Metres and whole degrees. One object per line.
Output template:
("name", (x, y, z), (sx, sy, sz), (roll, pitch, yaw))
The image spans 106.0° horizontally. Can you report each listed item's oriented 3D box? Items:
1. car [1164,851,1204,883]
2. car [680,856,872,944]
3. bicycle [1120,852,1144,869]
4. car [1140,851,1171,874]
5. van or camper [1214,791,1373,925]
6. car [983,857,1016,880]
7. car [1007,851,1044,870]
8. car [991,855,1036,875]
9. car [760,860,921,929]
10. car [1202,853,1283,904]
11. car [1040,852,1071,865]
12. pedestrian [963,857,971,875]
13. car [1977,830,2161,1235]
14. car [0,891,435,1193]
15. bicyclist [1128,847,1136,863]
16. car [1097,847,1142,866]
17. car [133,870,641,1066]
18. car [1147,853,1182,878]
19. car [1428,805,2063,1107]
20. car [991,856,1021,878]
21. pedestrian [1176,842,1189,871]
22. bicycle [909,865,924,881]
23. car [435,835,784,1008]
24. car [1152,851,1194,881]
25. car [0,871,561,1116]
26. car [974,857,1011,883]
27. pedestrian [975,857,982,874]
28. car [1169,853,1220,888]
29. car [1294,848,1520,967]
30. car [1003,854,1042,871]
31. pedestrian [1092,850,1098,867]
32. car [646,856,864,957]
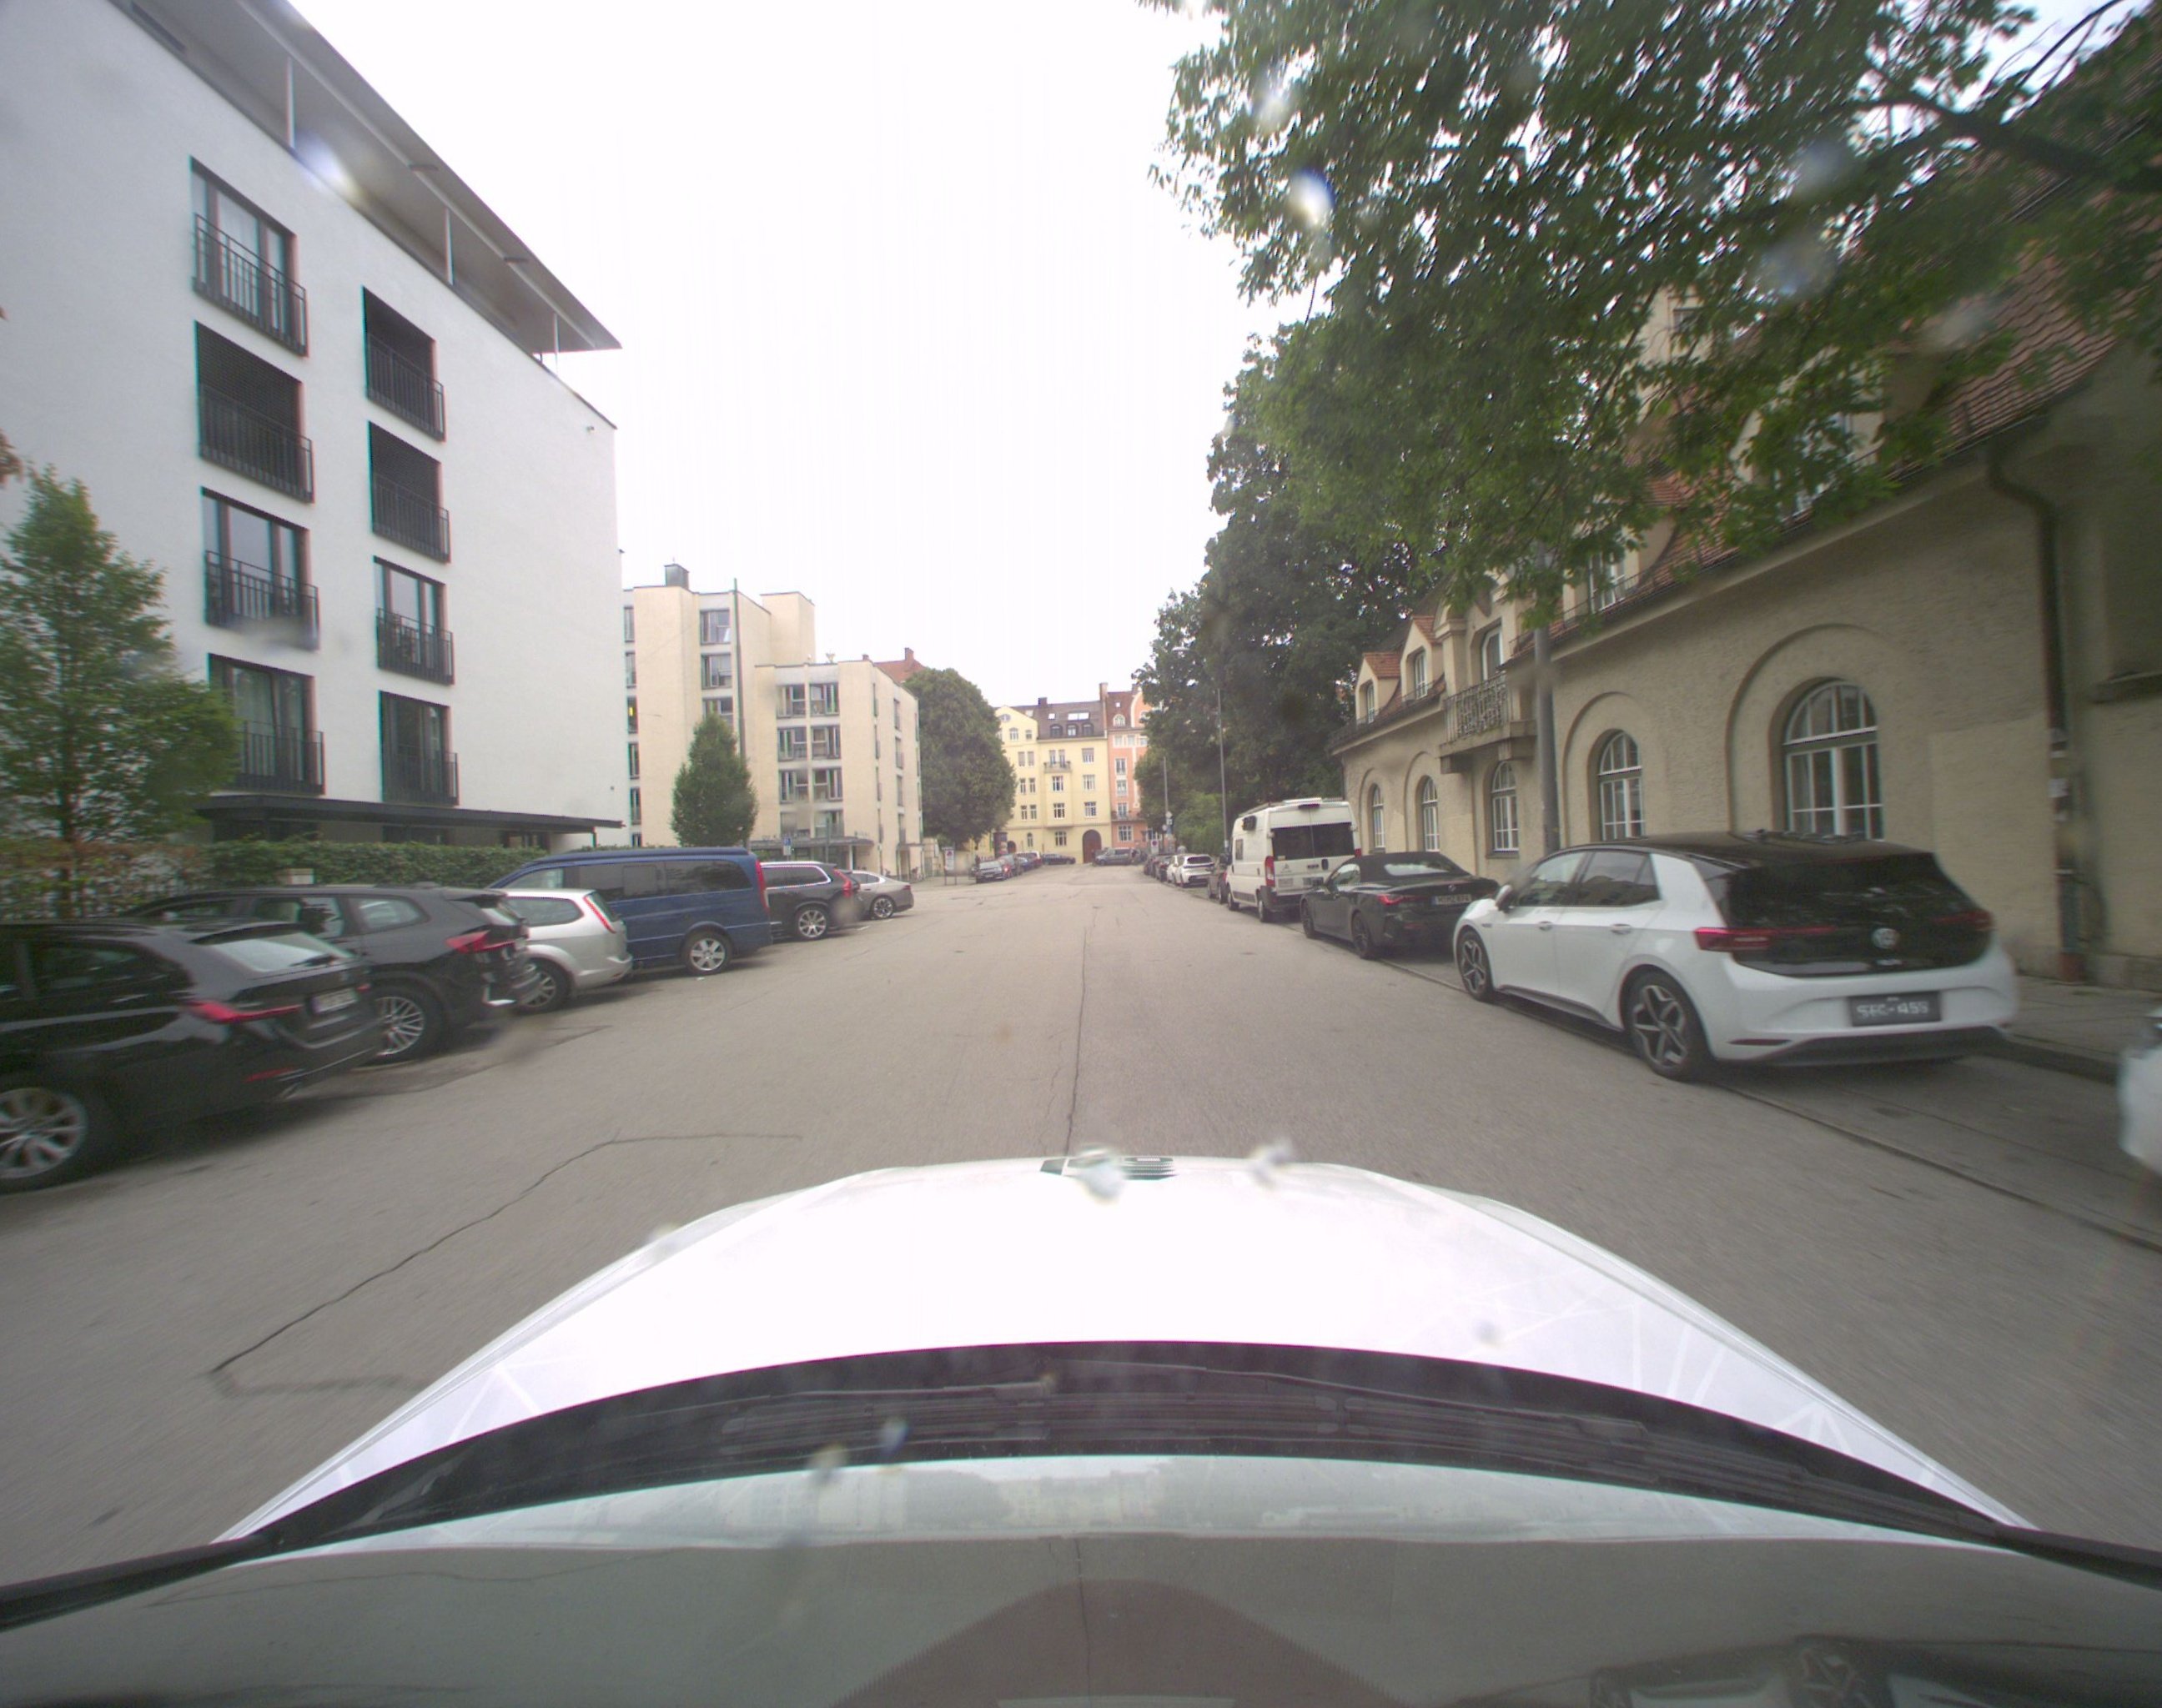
("car", (5.339, 0.660, 42.576), (1.700, 1.466, 3.839), (-4, 0, 2))
("car", (-7.460, 1.062, 20.006), (4.132, 1.708, 1.721), (-4, 0, -29))
("bicycle", (4.895, 0.613, 77.656), (2.209, 1.510, 0.655), (-2, 0, 1))
("car", (5.189, 0.579, 57.237), (1.665, 1.344, 3.836), (-4, 2, -1))
("van or camper", (4.755, 0.081, 19.276), (2.185, 2.550, 5.728), (-4, 0, 1))
("car", (-6.113, 1.042, 61.362), (1.827, 1.508, 4.002), (-6, 0, 2))
("car", (-6.435, 0.711, 94.321), (3.974, 1.799, 1.840), (-6, 0, 0))
("car", (-6.386, 1.004, 77.563), (3.974, 1.508, 1.840), (-6, 0, 0))
("car", (-7.004, 1.128, 23.838), (4.133, 1.609, 1.720), (-4, 0, -31))
("car", (4.990, 0.705, 25.679), (1.701, 1.369, 4.130), (-4, 0, 0))
("car", (-3.442, 0.586, 110.056), (3.971, 1.586, 1.704), (-3, 0, 2))
("pedestrian", (-10.921, 1.120, 78.061), (0.569, 1.657, 0.465), (-2, 0, 1))
("car", (4.655, 0.598, 1.471), (1.679, 1.441, 4.002), (-4, -1, 2))
("car", (-6.821, 1.140, 4.859), (4.219, 1.461, 1.725), (-4, 0, -20))
("bicyclist", (4.852, 0.097, 77.652), (0.763, 1.510, 0.655), (-2, 0, 1))
("car", (4.127, 0.252, 87.445), (4.689, 1.880, 1.840), (-2, 0, -1))
("car", (-7.708, 1.152, 9.688), (4.229, 1.609, 1.721), (-4, 0, -28))
("car", (5.321, 0.685, 52.313), (1.665, 1.344, 3.836), (-4, 2, -1))
("car", (4.564, 0.559, 6.614), (1.701, 1.537, 4.242), (-5, 0, 2))
("car", (-6.050, 1.019, 66.261), (1.827, 1.508, 4.002), (-6, 0, 2))
("pedestrian", (7.081, 0.188, 56.920), (0.770, 2.013, 0.563), (-2, 0, 1))
("bicycle", (-12.106, 1.390, 60.029), (0.636, 1.149, 2.424), (-2, 0, -1))
("car", (-6.961, 0.886, 12.470), (4.229, 2.066, 1.721), (-4, 0, -28))
("car", (5.252, 0.648, 46.871), (1.799, 1.465, 3.834), (-4, 2, -2))
("car", (-7.447, 1.116, 7.446), (4.224, 1.609, 1.723), (-4, 0, -24))
("car", (-5.983, 1.063, 55.405), (1.827, 1.508, 4.002), (-6, 0, 2))
("pedestrian", (-9.814, 1.081, 77.881), (0.569, 1.657, 0.465), (-2, 0, 1))
("car", (5.181, 0.714, 37.634), (1.701, 1.408, 4.130), (-4, 0, 0))
("car", (4.660, 0.665, 12.408), (1.701, 1.369, 4.442), (-4, 0, 2))
("car", (-6.427, 0.954, 89.530), (3.974, 1.508, 1.840), (-6, 0, 0))
("pedestrian", (1.469, 0.476, 83.800), (0.462, 1.657, 0.572), (-2, 0, -4))
("car", (-7.018, 1.057, 17.617), (4.132, 1.708, 1.721), (-4, 0, -29))
